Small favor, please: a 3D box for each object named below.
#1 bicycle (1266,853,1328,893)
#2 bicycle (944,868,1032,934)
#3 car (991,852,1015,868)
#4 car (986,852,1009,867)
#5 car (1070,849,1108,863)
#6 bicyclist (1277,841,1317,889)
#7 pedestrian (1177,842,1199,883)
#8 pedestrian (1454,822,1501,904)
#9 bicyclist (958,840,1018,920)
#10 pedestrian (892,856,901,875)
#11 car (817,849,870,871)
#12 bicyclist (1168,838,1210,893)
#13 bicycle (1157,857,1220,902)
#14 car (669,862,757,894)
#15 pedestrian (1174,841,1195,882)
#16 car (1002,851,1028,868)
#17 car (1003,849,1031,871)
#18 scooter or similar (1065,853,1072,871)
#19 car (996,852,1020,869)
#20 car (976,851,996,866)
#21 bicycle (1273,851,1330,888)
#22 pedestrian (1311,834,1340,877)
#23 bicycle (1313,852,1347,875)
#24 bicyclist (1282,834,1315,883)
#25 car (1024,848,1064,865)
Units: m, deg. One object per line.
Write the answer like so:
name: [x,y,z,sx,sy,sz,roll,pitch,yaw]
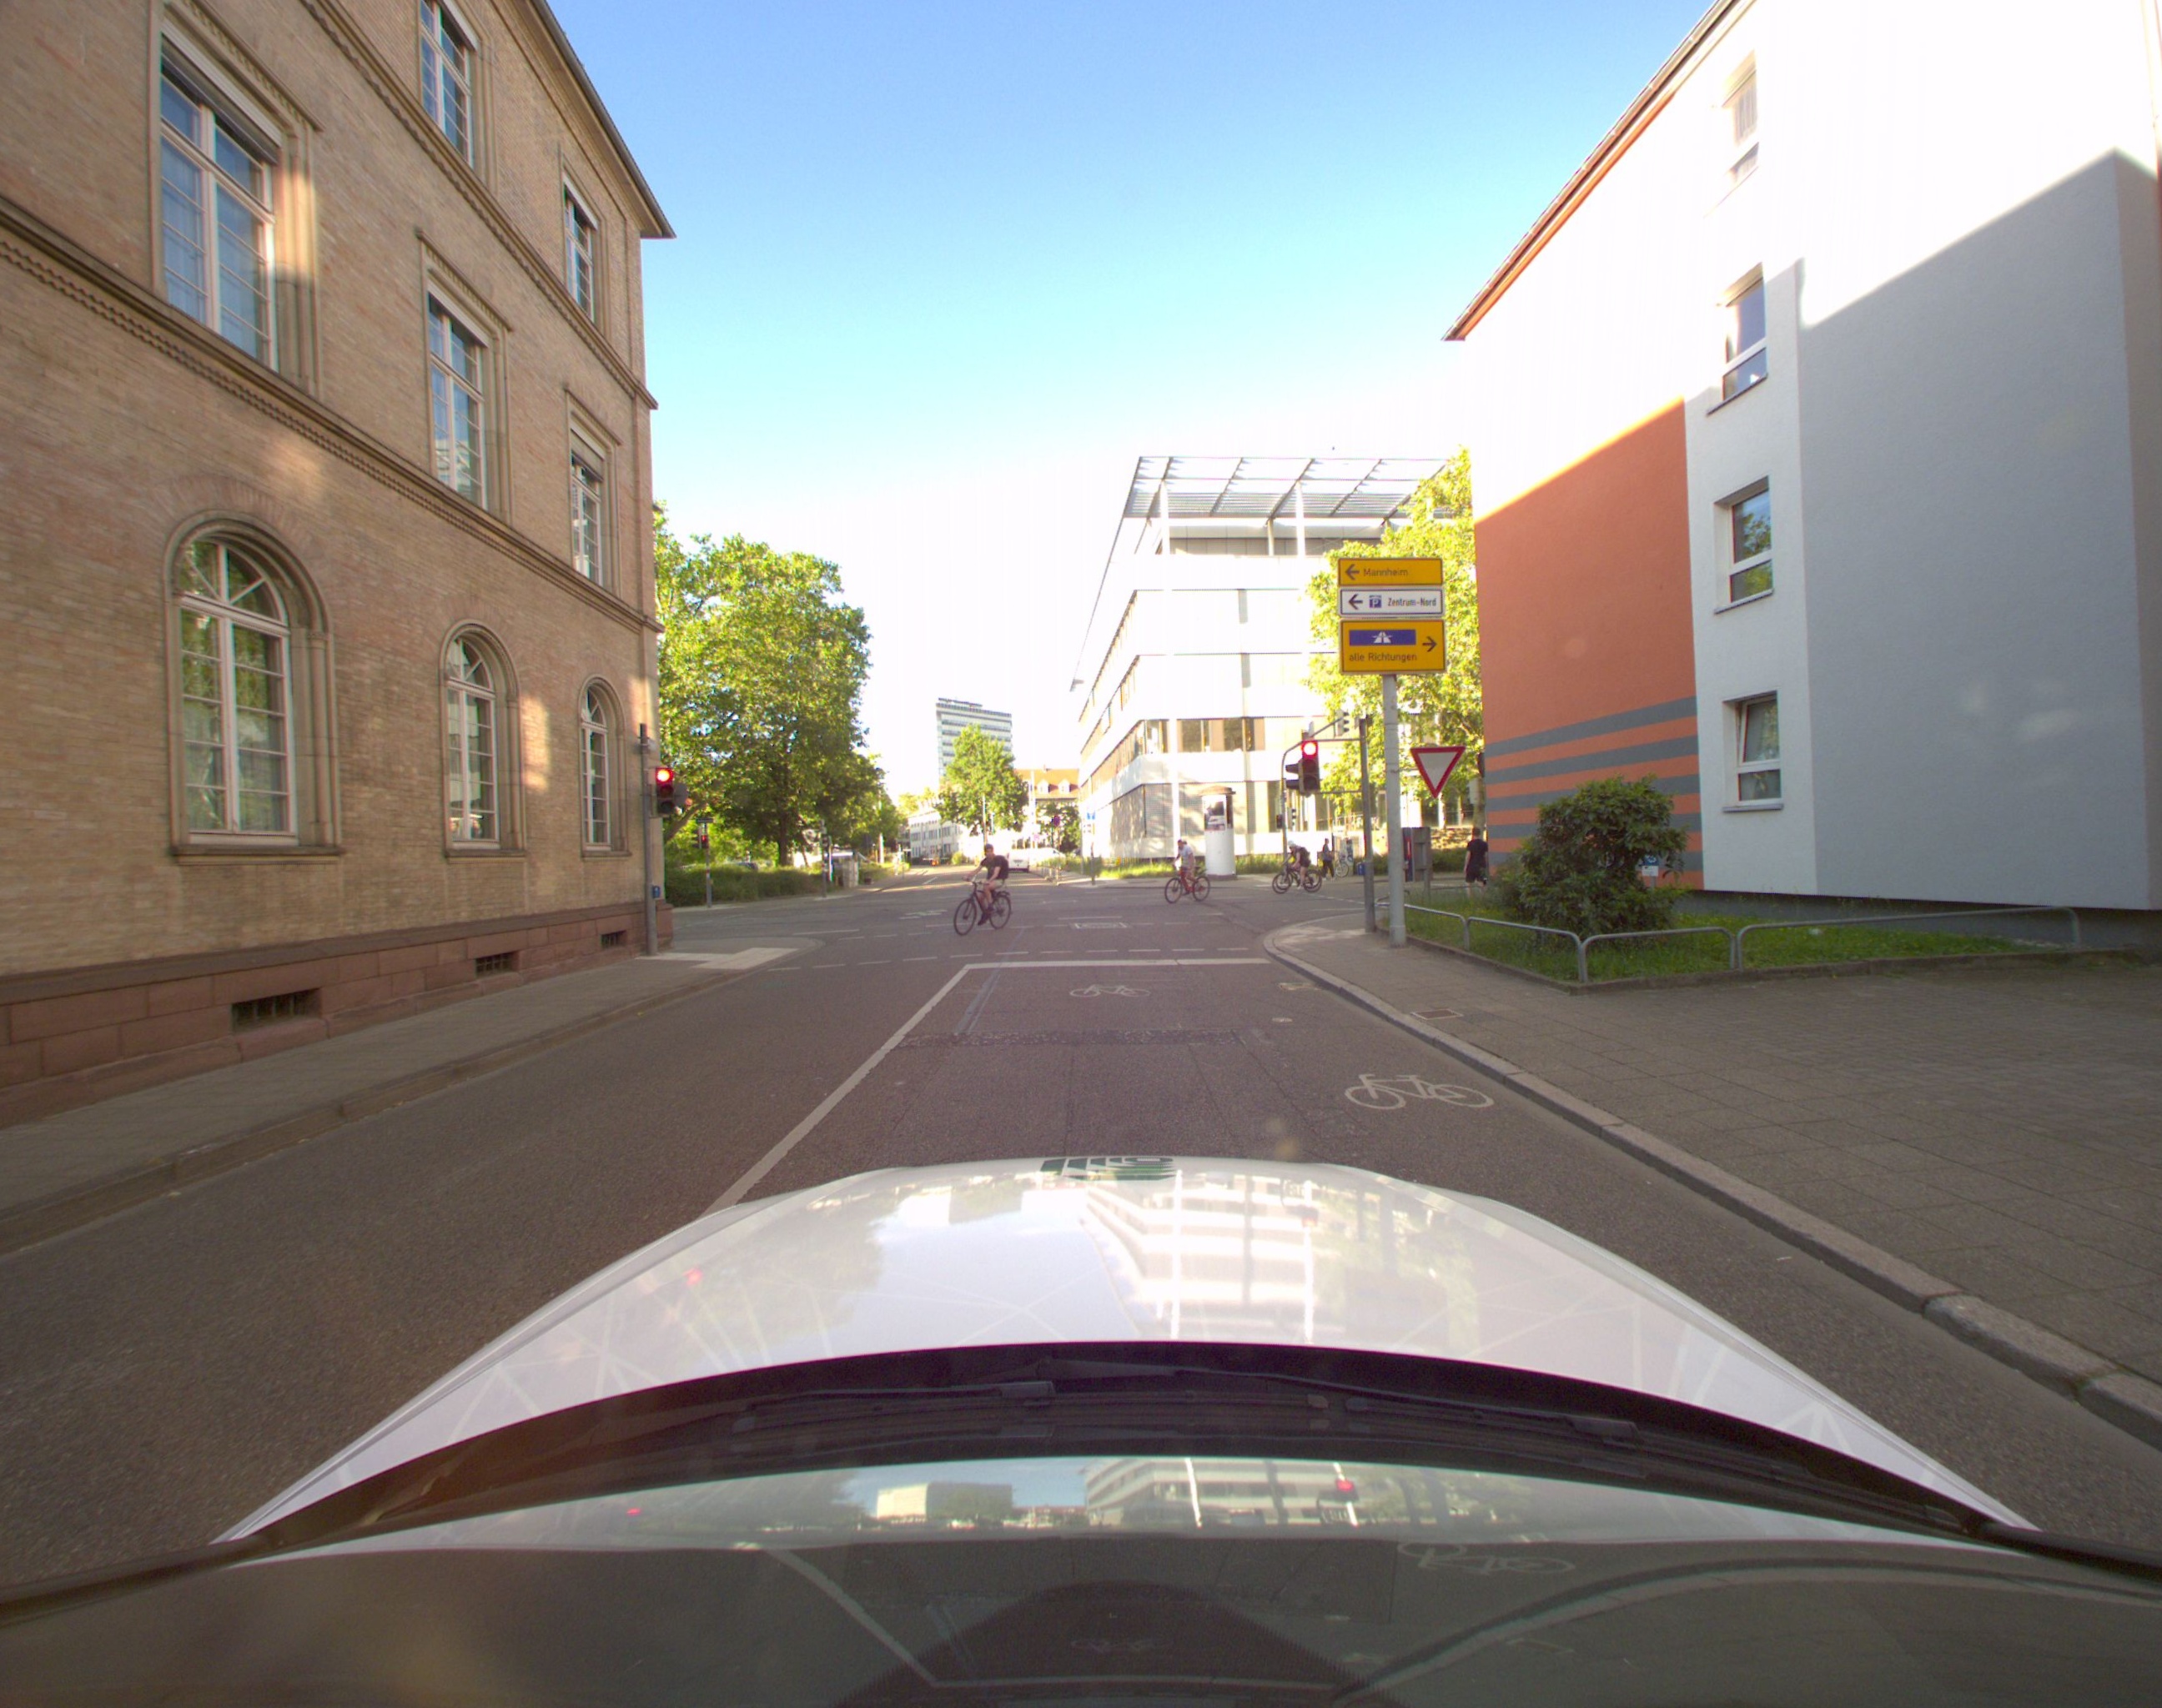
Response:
bicycle: [6.750,0.579,25.496,1.781,1.152,0.624,-2,0,-15]
bicycle: [-1.831,0.909,16.309,0.585,1.152,1.982,-2,0,33]
car: [-7.838,0.588,81.635,1.994,1.499,4.270,0,-1,-11]
car: [-8.880,0.595,86.388,1.994,1.499,4.635,0,-1,-10]
car: [1.027,0.262,104.965,4.644,1.725,1.990,0,-1,-15]
bicyclist: [6.756,0.345,25.489,0.973,1.446,0.624,-2,0,-15]
pedestrian: [4.635,0.366,35.310,0.758,1.719,0.651,-1,-1,23]
pedestrian: [9.017,0.208,18.525,0.723,1.810,0.693,0,-1,-39]
bicyclist: [-1.853,0.507,16.317,0.585,1.527,1.086,-2,0,33]
pedestrian: [-15.367,0.924,67.947,0.700,1.587,0.633,0,-1,-14]
car: [-22.020,0.531,75.777,4.441,2.014,1.995,0,-1,-8]
bicyclist: [3.047,0.321,23.034,0.924,1.522,0.696,-2,0,-44]
bicycle: [3.066,0.710,23.024,1.981,1.152,0.620,-2,0,-44]
car: [-17.078,1.091,37.911,3.407,1.457,1.646,0,-1,-8]
pedestrian: [4.592,0.332,36.192,0.758,1.795,0.651,-1,-1,23]
car: [-5.843,0.481,71.362,1.993,1.499,4.638,0,-1,-8]
car: [-5.167,0.469,65.127,1.992,1.725,4.640,0,-1,-7]
scooter or similar: [-0.909,0.582,58.485,0.436,1.256,1.418,-2,0,-2]
car: [-6.915,0.611,77.162,1.993,1.499,4.638,0,-1,-8]
car: [-11.296,0.542,96.312,1.995,1.725,4.633,0,-1,-11]
bicycle: [7.542,0.524,27.847,1.781,1.152,0.624,-2,0,-15]
pedestrian: [10.407,0.077,34.729,0.766,1.815,0.906,0,-1,-41]
bicycle: [11.011,0.424,36.036,0.381,1.008,1.416,-2,0,-40]
bicyclist: [7.418,0.144,27.822,0.825,1.628,0.624,-2,0,-15]
car: [-4.679,0.279,103.258,4.802,2.159,1.989,0,-1,-16]
